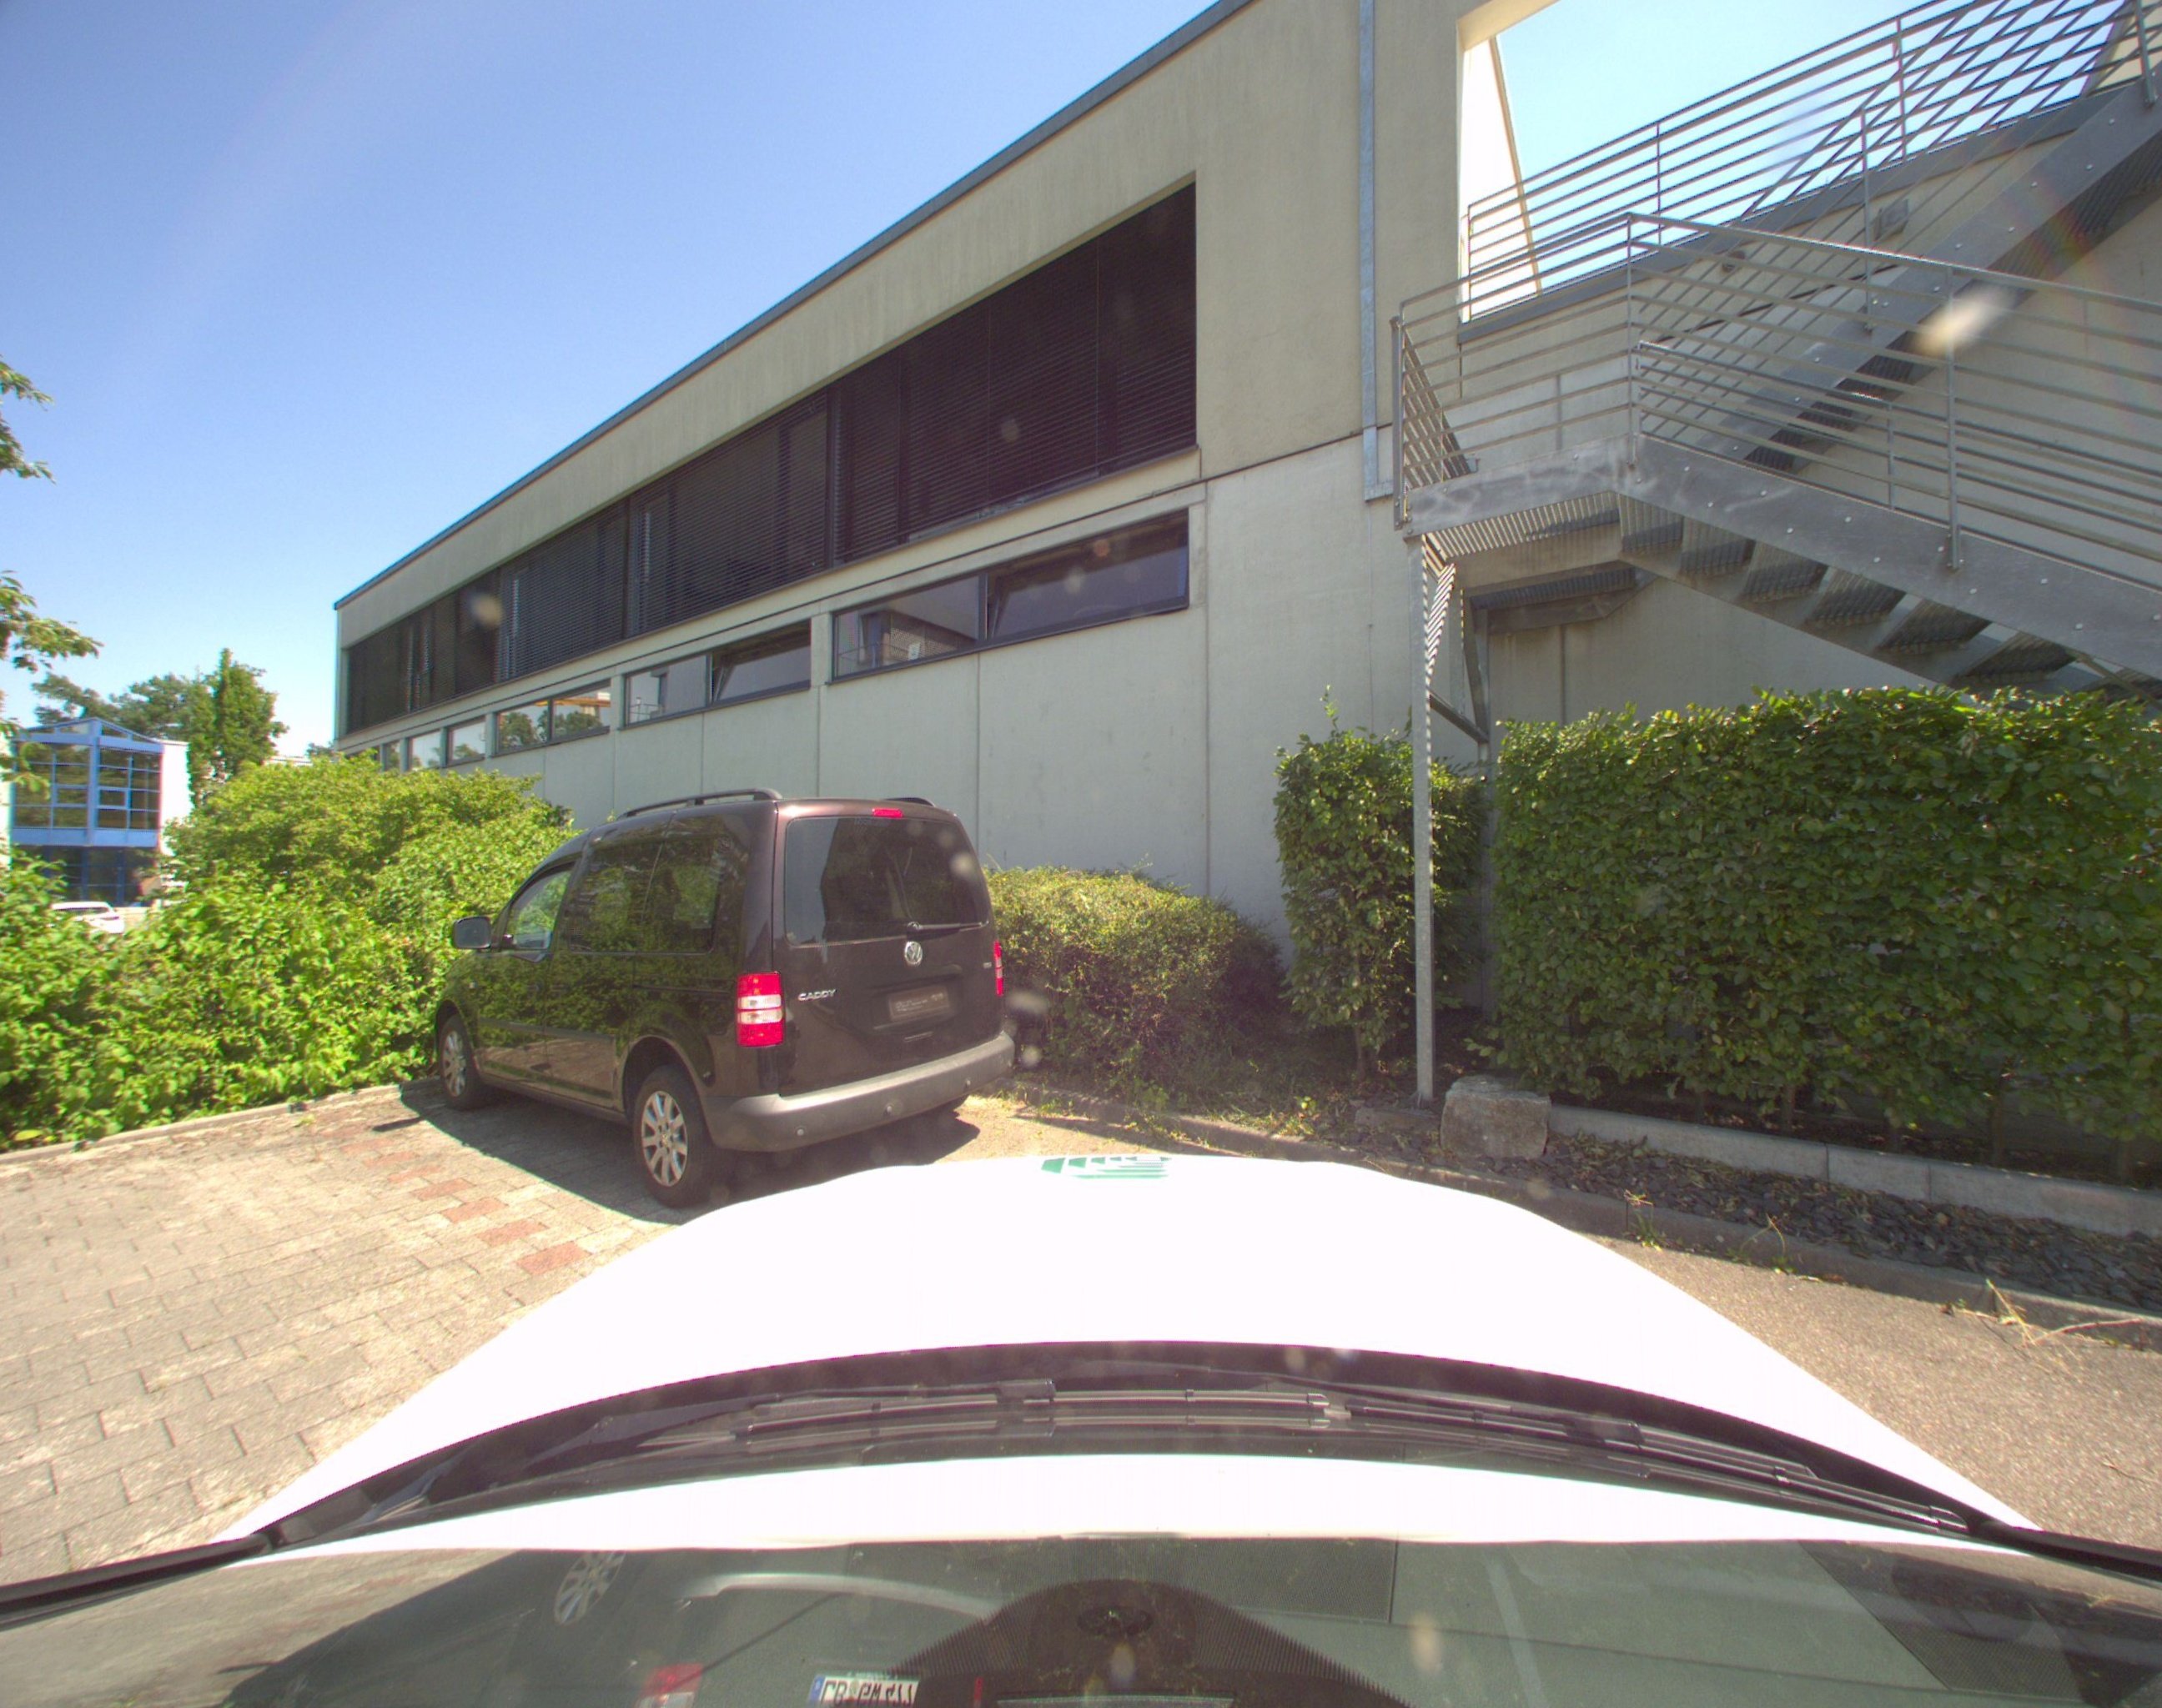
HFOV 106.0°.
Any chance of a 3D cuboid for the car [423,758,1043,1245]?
[{"bbox_3d":[-2.340,0.594,5.024,4.019,1.884,1.689,-1,-1,36],"label":"car"}]
